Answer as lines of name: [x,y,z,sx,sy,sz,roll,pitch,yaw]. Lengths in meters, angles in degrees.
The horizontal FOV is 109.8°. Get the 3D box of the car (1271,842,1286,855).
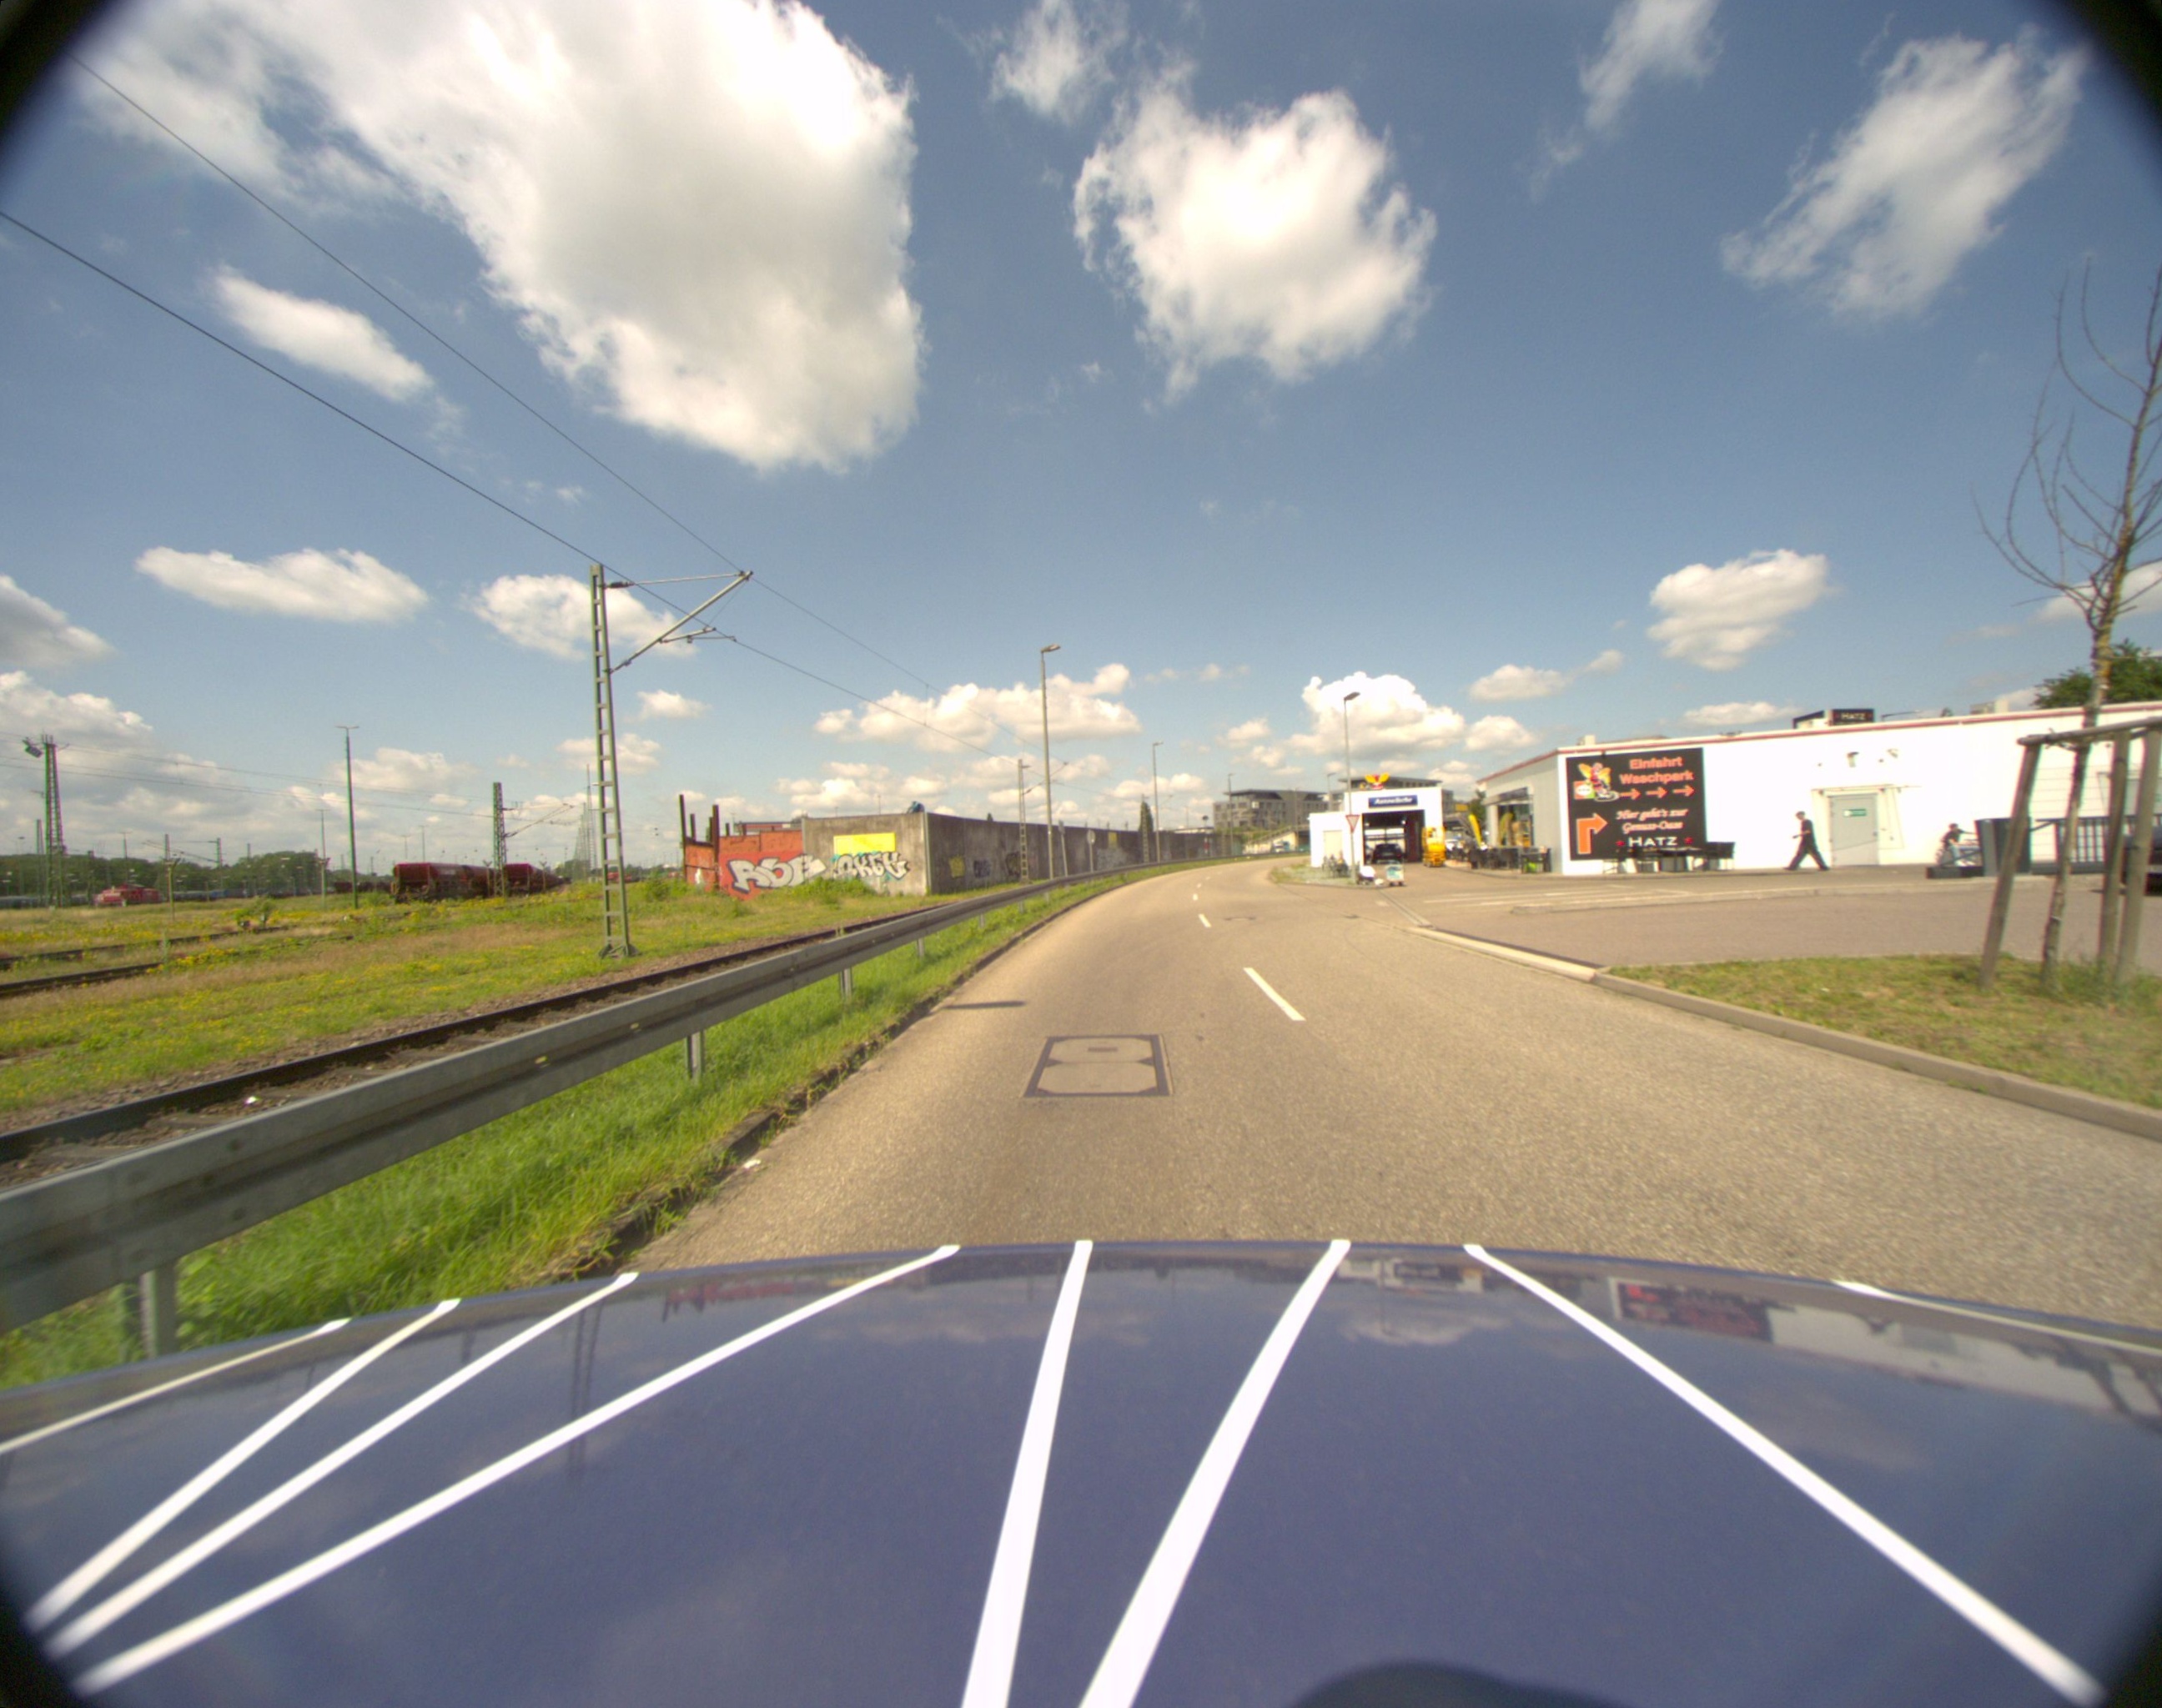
car: [42.018,-1.219,161.760,2.064,2.512,5.884,-4,0,7]

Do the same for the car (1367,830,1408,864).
car: [20.766,-0.513,51.623,1.996,2.097,5.015,-2,1,16]

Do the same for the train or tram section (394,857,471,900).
train or tram section: [-62.575,2.386,73.704,3.307,3.695,12.524,-3,0,-30]

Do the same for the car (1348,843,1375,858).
car: [28.832,-0.402,78.282,1.920,1.369,4.795,-4,0,13]

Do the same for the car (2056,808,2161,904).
car: [18.779,-0.093,11.533,4.756,1.447,2.238,-3,0,5]

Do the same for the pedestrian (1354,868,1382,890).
pedestrian: [10.845,0.934,28.712,0.863,0.755,0.819,-3,0,15]

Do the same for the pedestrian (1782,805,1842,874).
pedestrian: [22.036,-0.436,22.915,0.940,2.003,0.865,-3,2,0]

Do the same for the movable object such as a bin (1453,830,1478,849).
movable object such as a bin: [47.087,-1.798,93.036,2.380,2.092,1.633,-3,-1,-35]

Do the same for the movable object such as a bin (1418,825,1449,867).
movable object such as a bin: [19.184,-0.478,41.364,1.064,2.140,2.706,-3,2,17]

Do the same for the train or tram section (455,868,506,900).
train or tram section: [-75.094,3.714,95.326,3.104,3.695,12.524,-3,0,-30]

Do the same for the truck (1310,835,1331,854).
truck: [45.223,-1.769,143.586,2.990,3.400,8.121,-2,1,14]

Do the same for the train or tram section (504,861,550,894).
train or tram section: [-69.989,2.989,96.203,3.210,3.695,12.524,-3,0,-30]

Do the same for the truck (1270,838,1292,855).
truck: [45.370,-1.755,172.660,2.654,3.625,6.886,-5,1,-3]

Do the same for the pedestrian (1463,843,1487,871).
pedestrian: [18.115,0.125,34.948,0.754,1.249,0.900,-3,0,18]

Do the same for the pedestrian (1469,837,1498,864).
pedestrian: [20.410,-0.159,38.555,0.940,1.300,0.865,-3,0,0]

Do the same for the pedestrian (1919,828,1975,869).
pedestrian: [26.080,-0.171,22.892,0.711,1.159,0.843,-3,2,0]

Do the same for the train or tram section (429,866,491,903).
train or tram section: [-68.813,3.348,84.516,3.234,3.695,12.524,-3,0,-30]

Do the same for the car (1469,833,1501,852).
car: [39.706,-1.147,74.756,1.996,1.757,4.603,-2,1,18]
